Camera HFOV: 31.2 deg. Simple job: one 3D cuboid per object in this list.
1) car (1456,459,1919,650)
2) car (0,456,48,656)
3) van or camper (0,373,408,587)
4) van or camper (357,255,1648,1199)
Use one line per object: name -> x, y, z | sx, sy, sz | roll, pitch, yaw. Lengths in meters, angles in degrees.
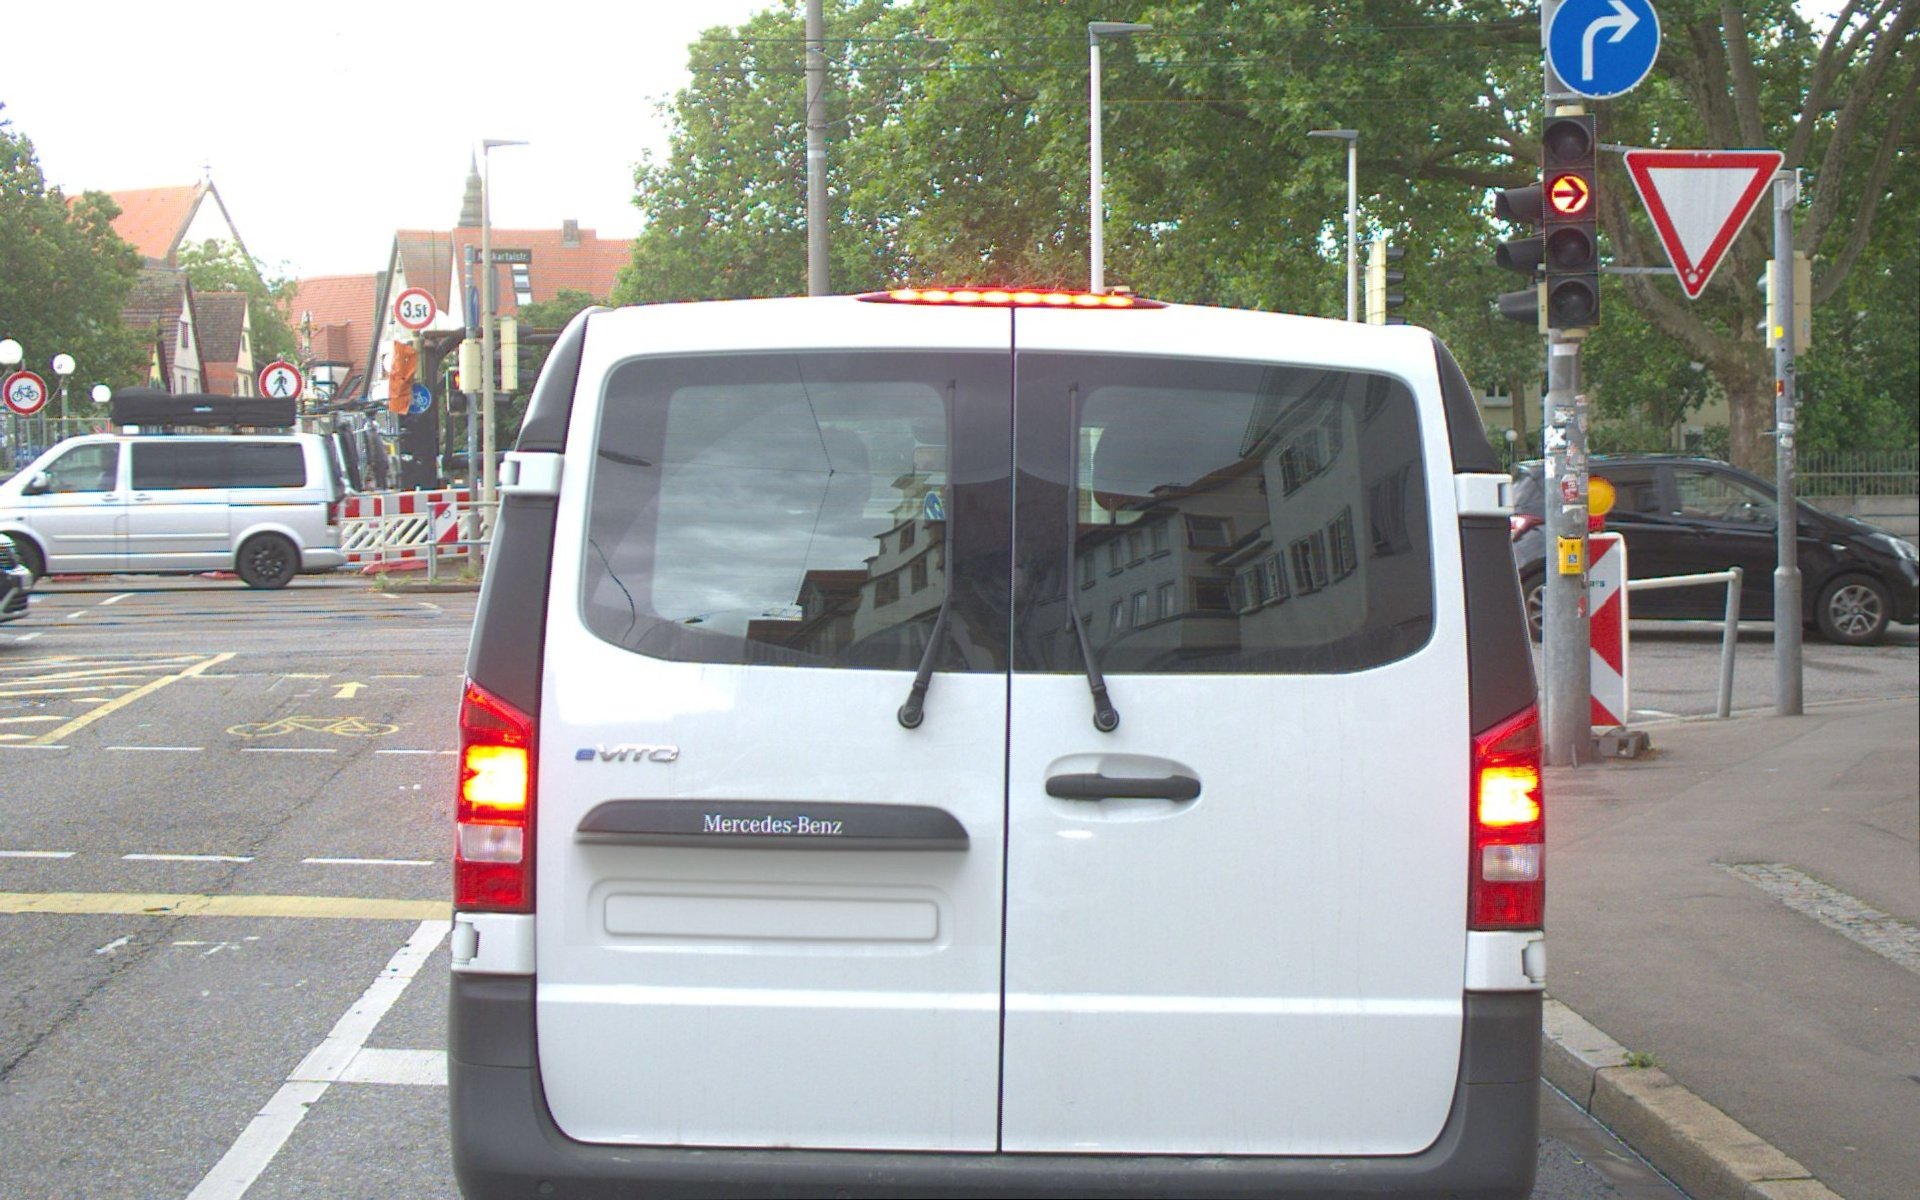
car -> 5.985, -0.390, 27.813 | 3.745, 1.423, 1.828 | -1, 3, 4
car -> -9.630, -0.339, 27.826 | 4.069, 1.568, 1.829 | -1, 3, -5
van or camper -> -9.526, -1.434, 41.856 | 5.390, 2.505, 2.037 | -1, 0, -13
van or camper -> -0.074, 0.346, 7.431 | 1.937, 1.918, 4.442 | 1, 3, -4
